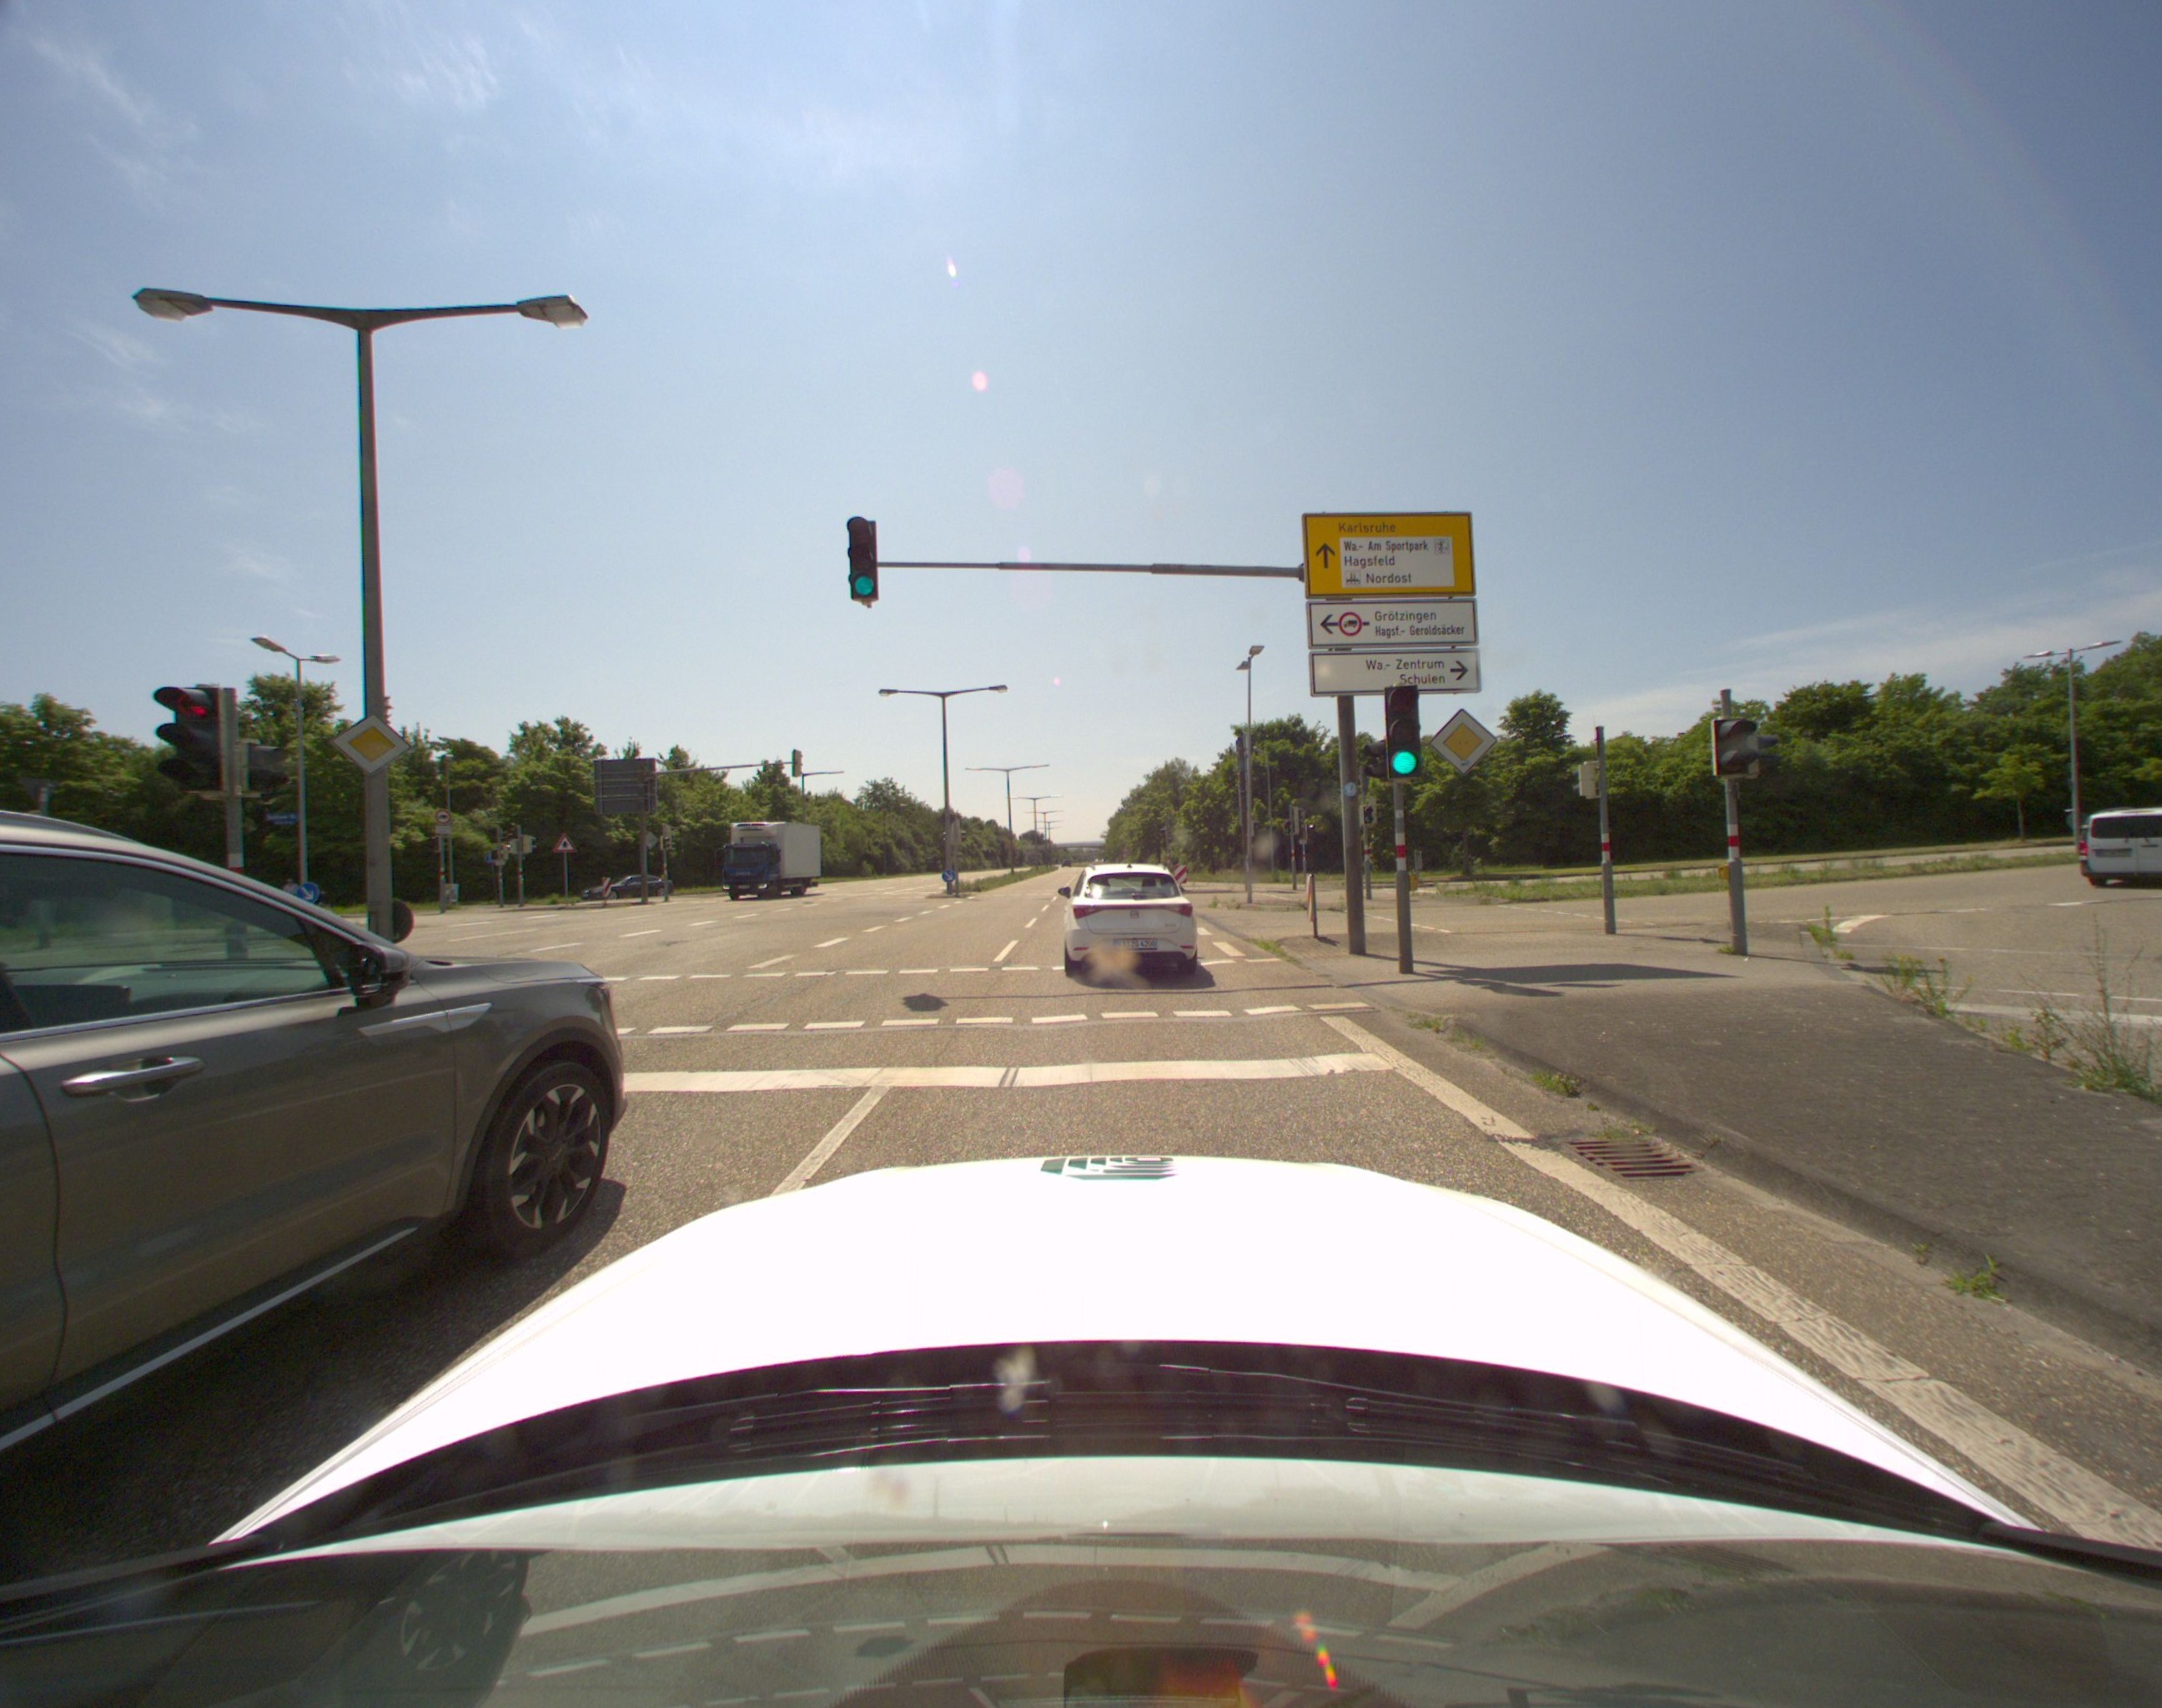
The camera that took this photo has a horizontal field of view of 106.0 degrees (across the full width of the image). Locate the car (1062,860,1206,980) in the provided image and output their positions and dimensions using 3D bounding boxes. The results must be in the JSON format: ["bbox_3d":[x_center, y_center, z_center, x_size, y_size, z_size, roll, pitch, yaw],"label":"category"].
[{"bbox_3d":[0.674,0.826,11.616,1.728,1.428,3.695,0,-1,1],"label":"car"}]

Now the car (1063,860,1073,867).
[{"bbox_3d":[-3.068,2.195,191.305,1.847,1.709,4.003,-2,0,3],"label":"car"}]

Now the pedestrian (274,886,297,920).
[{"bbox_3d":[-38.165,2.347,39.064,0.620,1.603,0.790,-2,-1,-35],"label":"pedestrian"}]

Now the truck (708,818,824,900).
[{"bbox_3d":[-15.125,0.233,39.769,2.678,3.570,7.267,-1,0,1],"label":"truck"}]

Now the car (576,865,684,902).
[{"bbox_3d":[-23.921,1.535,43.264,4.944,1.732,1.810,-2,-1,-32],"label":"car"}]

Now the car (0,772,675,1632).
[{"bbox_3d":[-3.004,0.699,1.767,1.797,1.662,4.645,-2,-1,1],"label":"car"}]

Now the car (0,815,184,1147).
[{"bbox_3d":[-6.817,0.714,3.232,1.726,1.826,4.319,-2,0,-1],"label":"car"}]

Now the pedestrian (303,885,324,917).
[{"bbox_3d":[-37.323,2.267,39.601,0.620,1.504,0.790,-1,-1,-35],"label":"pedestrian"}]

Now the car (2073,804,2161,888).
[{"bbox_3d":[26.610,-0.278,19.874,4.917,1.818,1.851,-4,1,-25],"label":"car"}]
